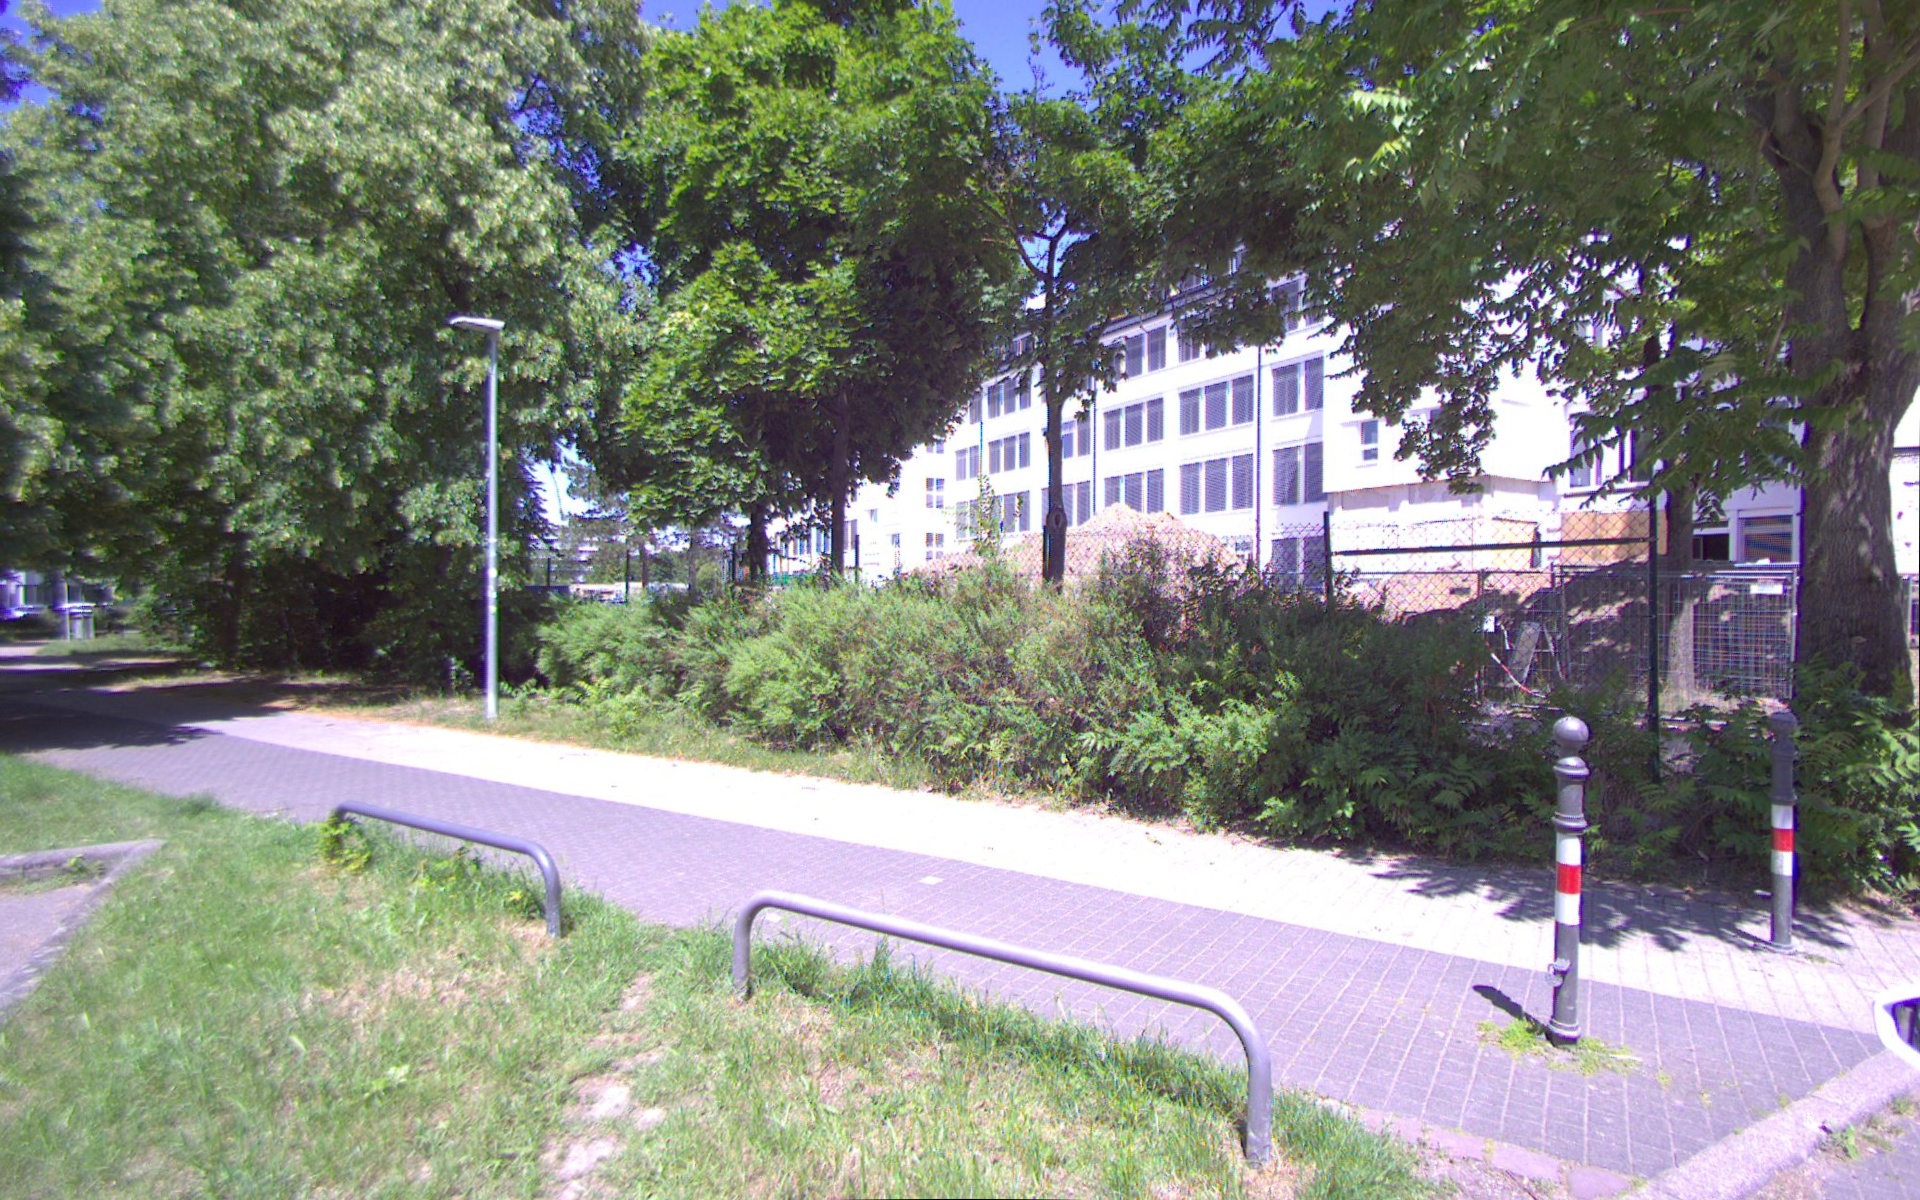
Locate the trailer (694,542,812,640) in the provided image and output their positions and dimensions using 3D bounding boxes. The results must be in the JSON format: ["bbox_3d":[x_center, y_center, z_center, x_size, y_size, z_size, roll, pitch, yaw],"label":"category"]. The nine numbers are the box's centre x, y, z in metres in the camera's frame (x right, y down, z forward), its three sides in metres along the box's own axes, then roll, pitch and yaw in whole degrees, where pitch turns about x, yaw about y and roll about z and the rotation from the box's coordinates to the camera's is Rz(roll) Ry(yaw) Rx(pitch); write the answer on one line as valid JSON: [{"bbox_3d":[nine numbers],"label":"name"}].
[{"bbox_3d":[-8.505,-0.313,40.312,2.999,3.467,8.723,1,0,-23],"label":"trailer"}]

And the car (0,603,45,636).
[{"bbox_3d":[-38.573,0.773,39.717,1.729,1.261,3.478,0,0,44],"label":"car"}]

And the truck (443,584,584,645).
[{"bbox_3d":[-15.874,0.521,35.716,4.405,2.021,1.984,1,0,-30],"label":"truck"}]
